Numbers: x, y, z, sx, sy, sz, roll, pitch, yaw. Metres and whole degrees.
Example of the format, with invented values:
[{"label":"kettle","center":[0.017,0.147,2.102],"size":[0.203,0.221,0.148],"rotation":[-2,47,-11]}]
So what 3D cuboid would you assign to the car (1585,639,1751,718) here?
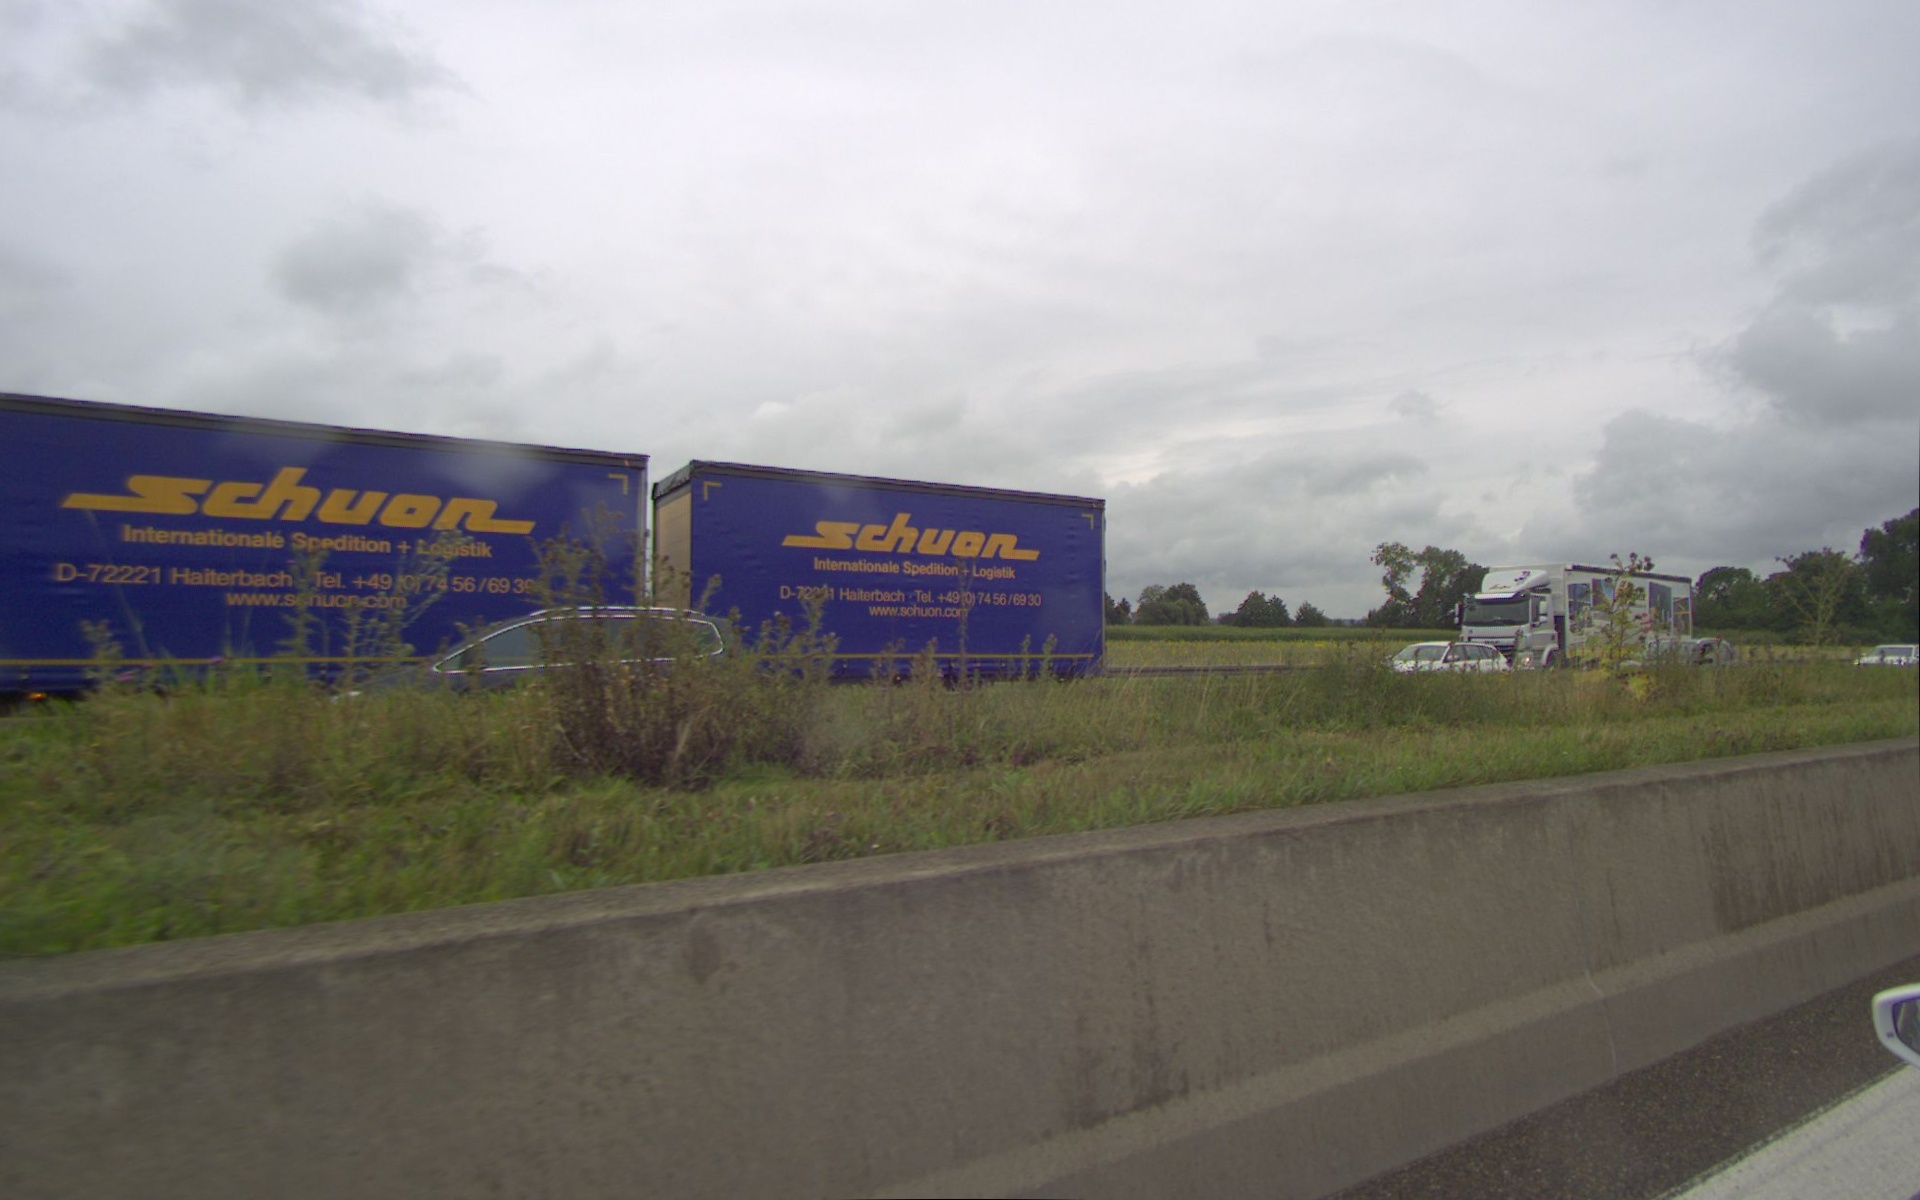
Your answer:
[{"label":"car","center":[16.837,1.804,23.876],"size":[3.953,1.730,1.746],"rotation":[1,-2,-30]}]

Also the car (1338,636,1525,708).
[{"label":"car","center":[11.959,1.757,25.400],"size":[4.957,1.637,1.873],"rotation":[1,-2,-31]}]

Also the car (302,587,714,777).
[{"label":"car","center":[-5.005,0.848,11.390],"size":[3.953,1.808,1.858],"rotation":[2,-2,-30]}]

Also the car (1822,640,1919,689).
[{"label":"car","center":[36.722,2.558,40.131],"size":[4.780,1.740,1.984],"rotation":[2,0,-30]}]

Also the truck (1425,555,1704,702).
[{"label":"truck","center":[21.628,1.030,35.555],"size":[11.657,4.543,3.493],"rotation":[2,0,-32]}]

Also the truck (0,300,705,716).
[{"label":"truck","center":[-9.247,-0.930,13.216],"size":[10.862,4.422,3.396],"rotation":[2,0,-30]}]

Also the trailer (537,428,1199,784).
[{"label":"trailer","center":[-1.146,0.186,18.116],"size":[11.549,4.832,3.369],"rotation":[1,0,-32]}]
